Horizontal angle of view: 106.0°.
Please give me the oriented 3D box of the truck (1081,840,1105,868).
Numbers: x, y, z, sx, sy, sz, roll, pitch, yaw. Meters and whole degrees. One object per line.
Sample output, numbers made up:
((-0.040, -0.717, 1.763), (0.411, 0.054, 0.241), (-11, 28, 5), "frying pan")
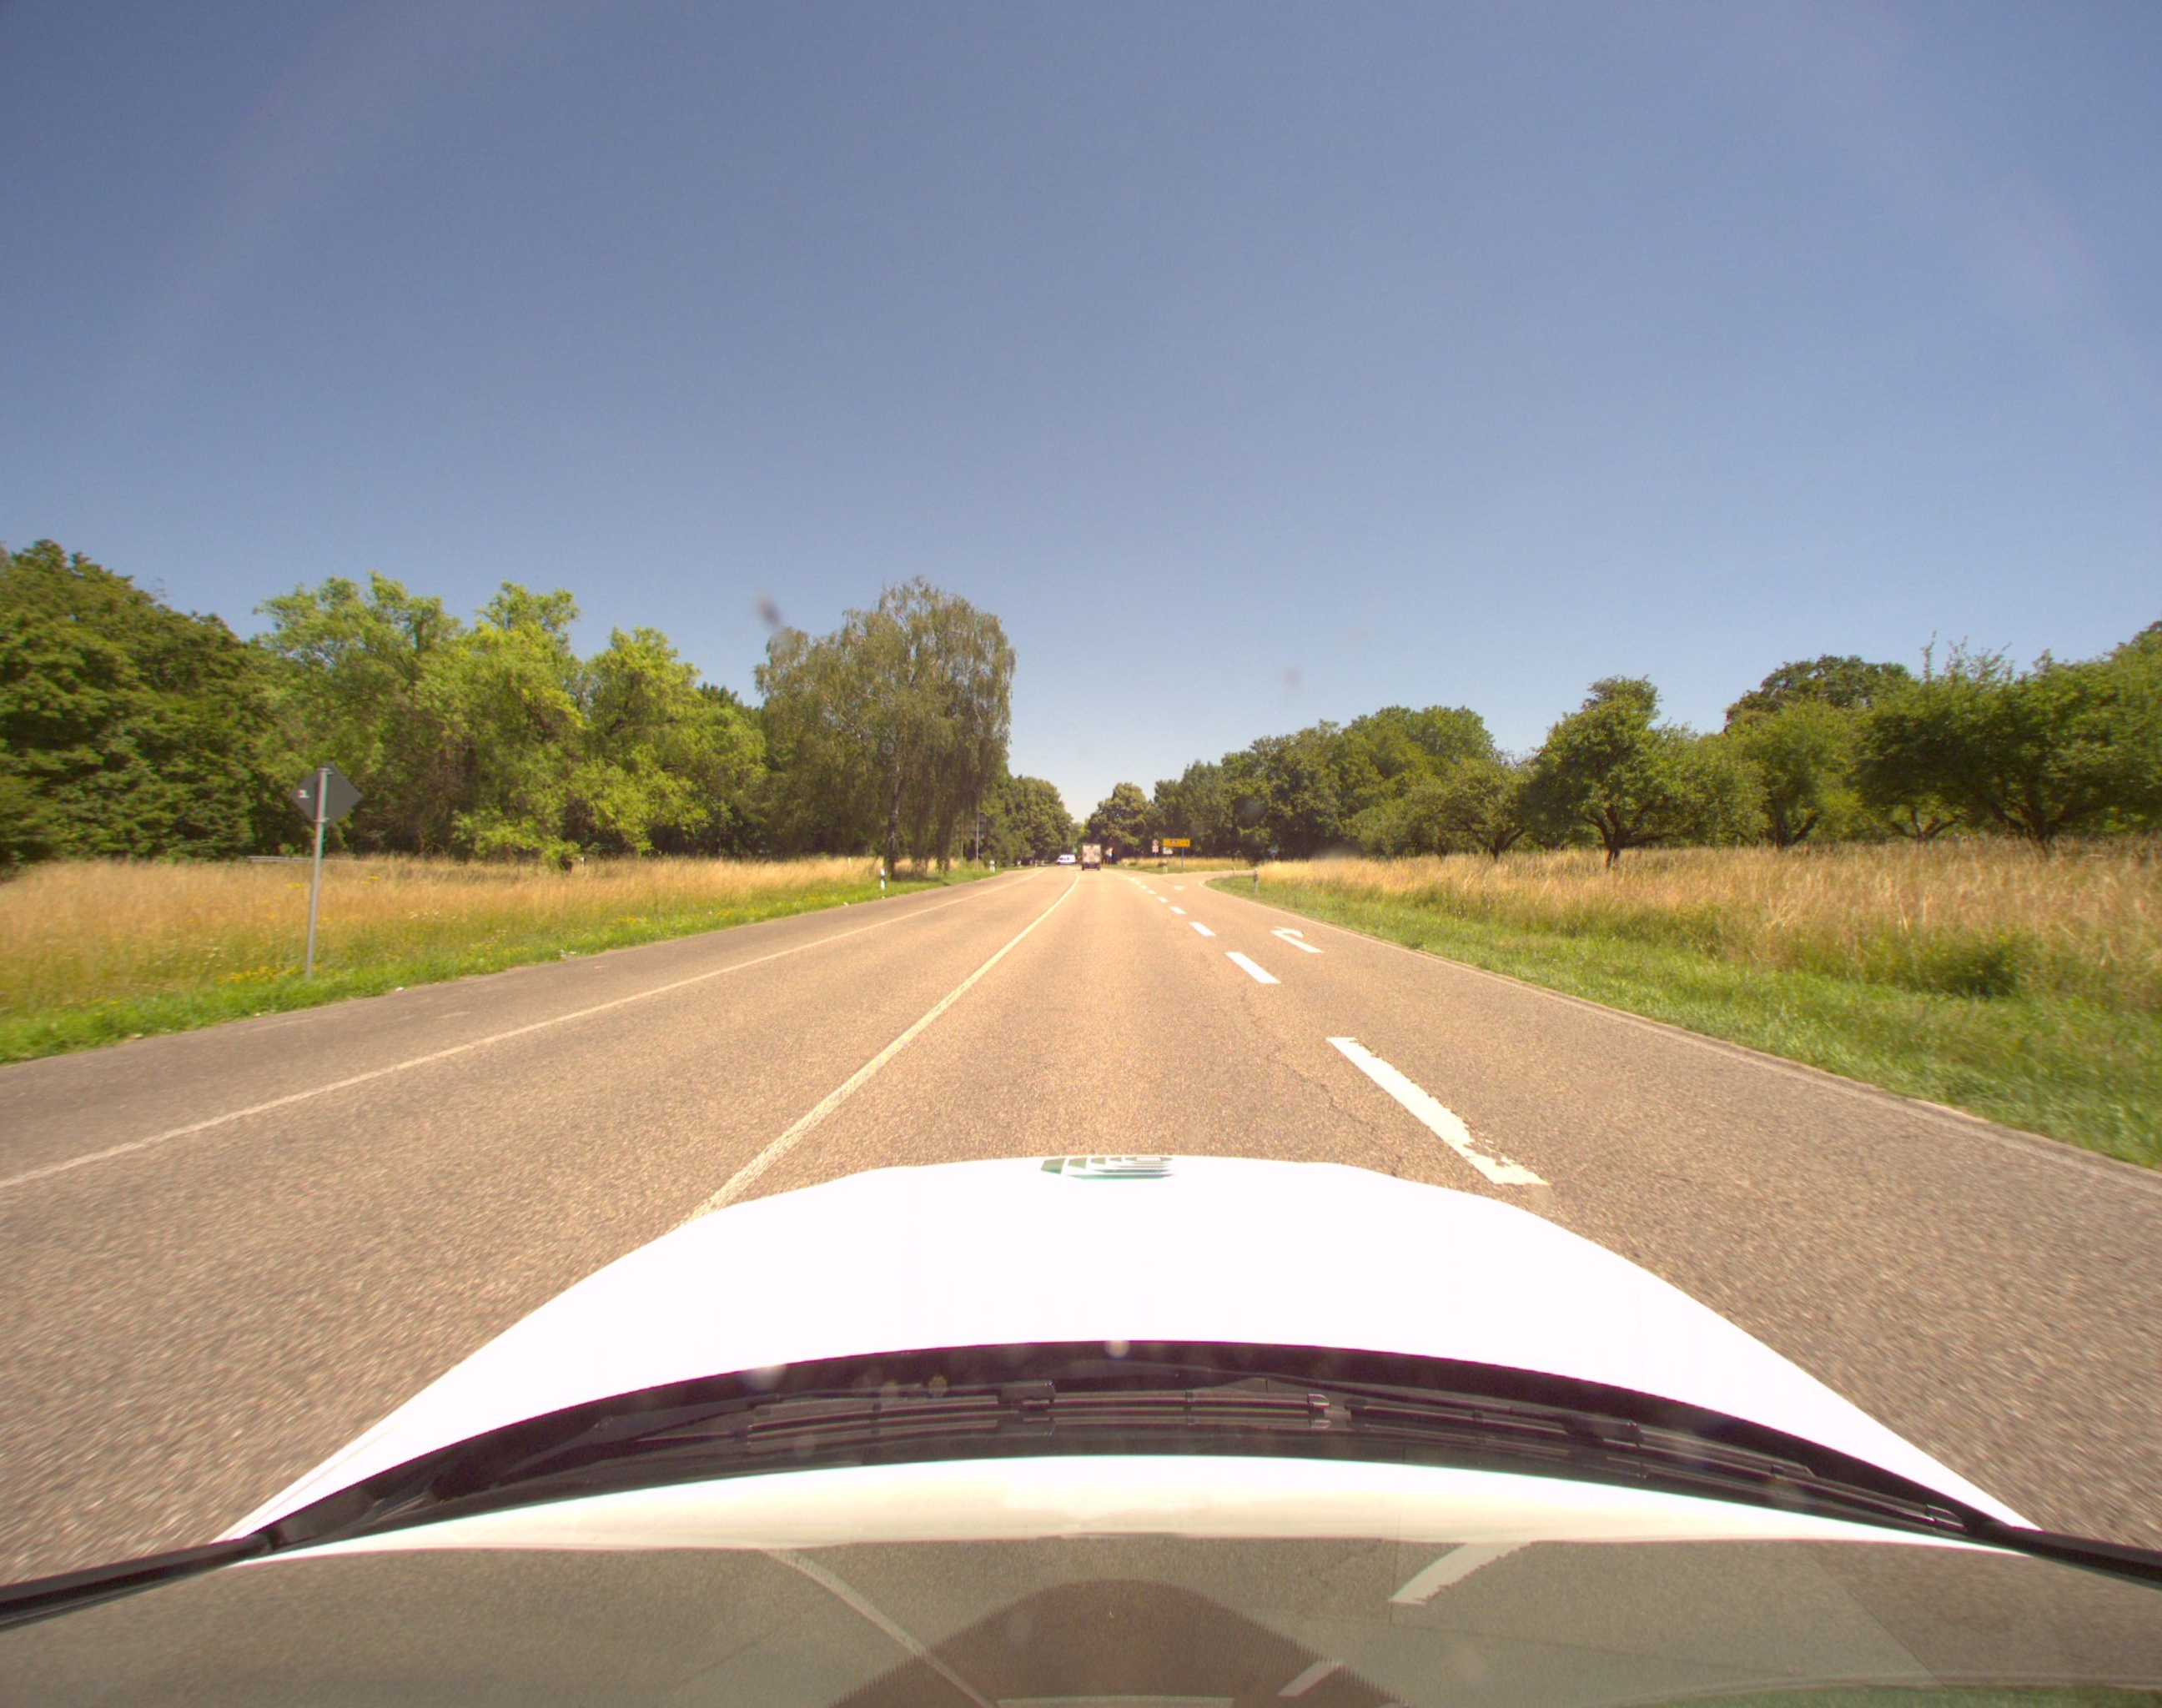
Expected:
((1.378, -0.016, 92.704), (2.523, 3.135, 5.364), (0, 0, 2), "truck")

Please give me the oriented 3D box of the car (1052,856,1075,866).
((-4.729, 1.884, 221.912), (2.054, 2.628, 6.824), (-1, -1, 43), "car")
